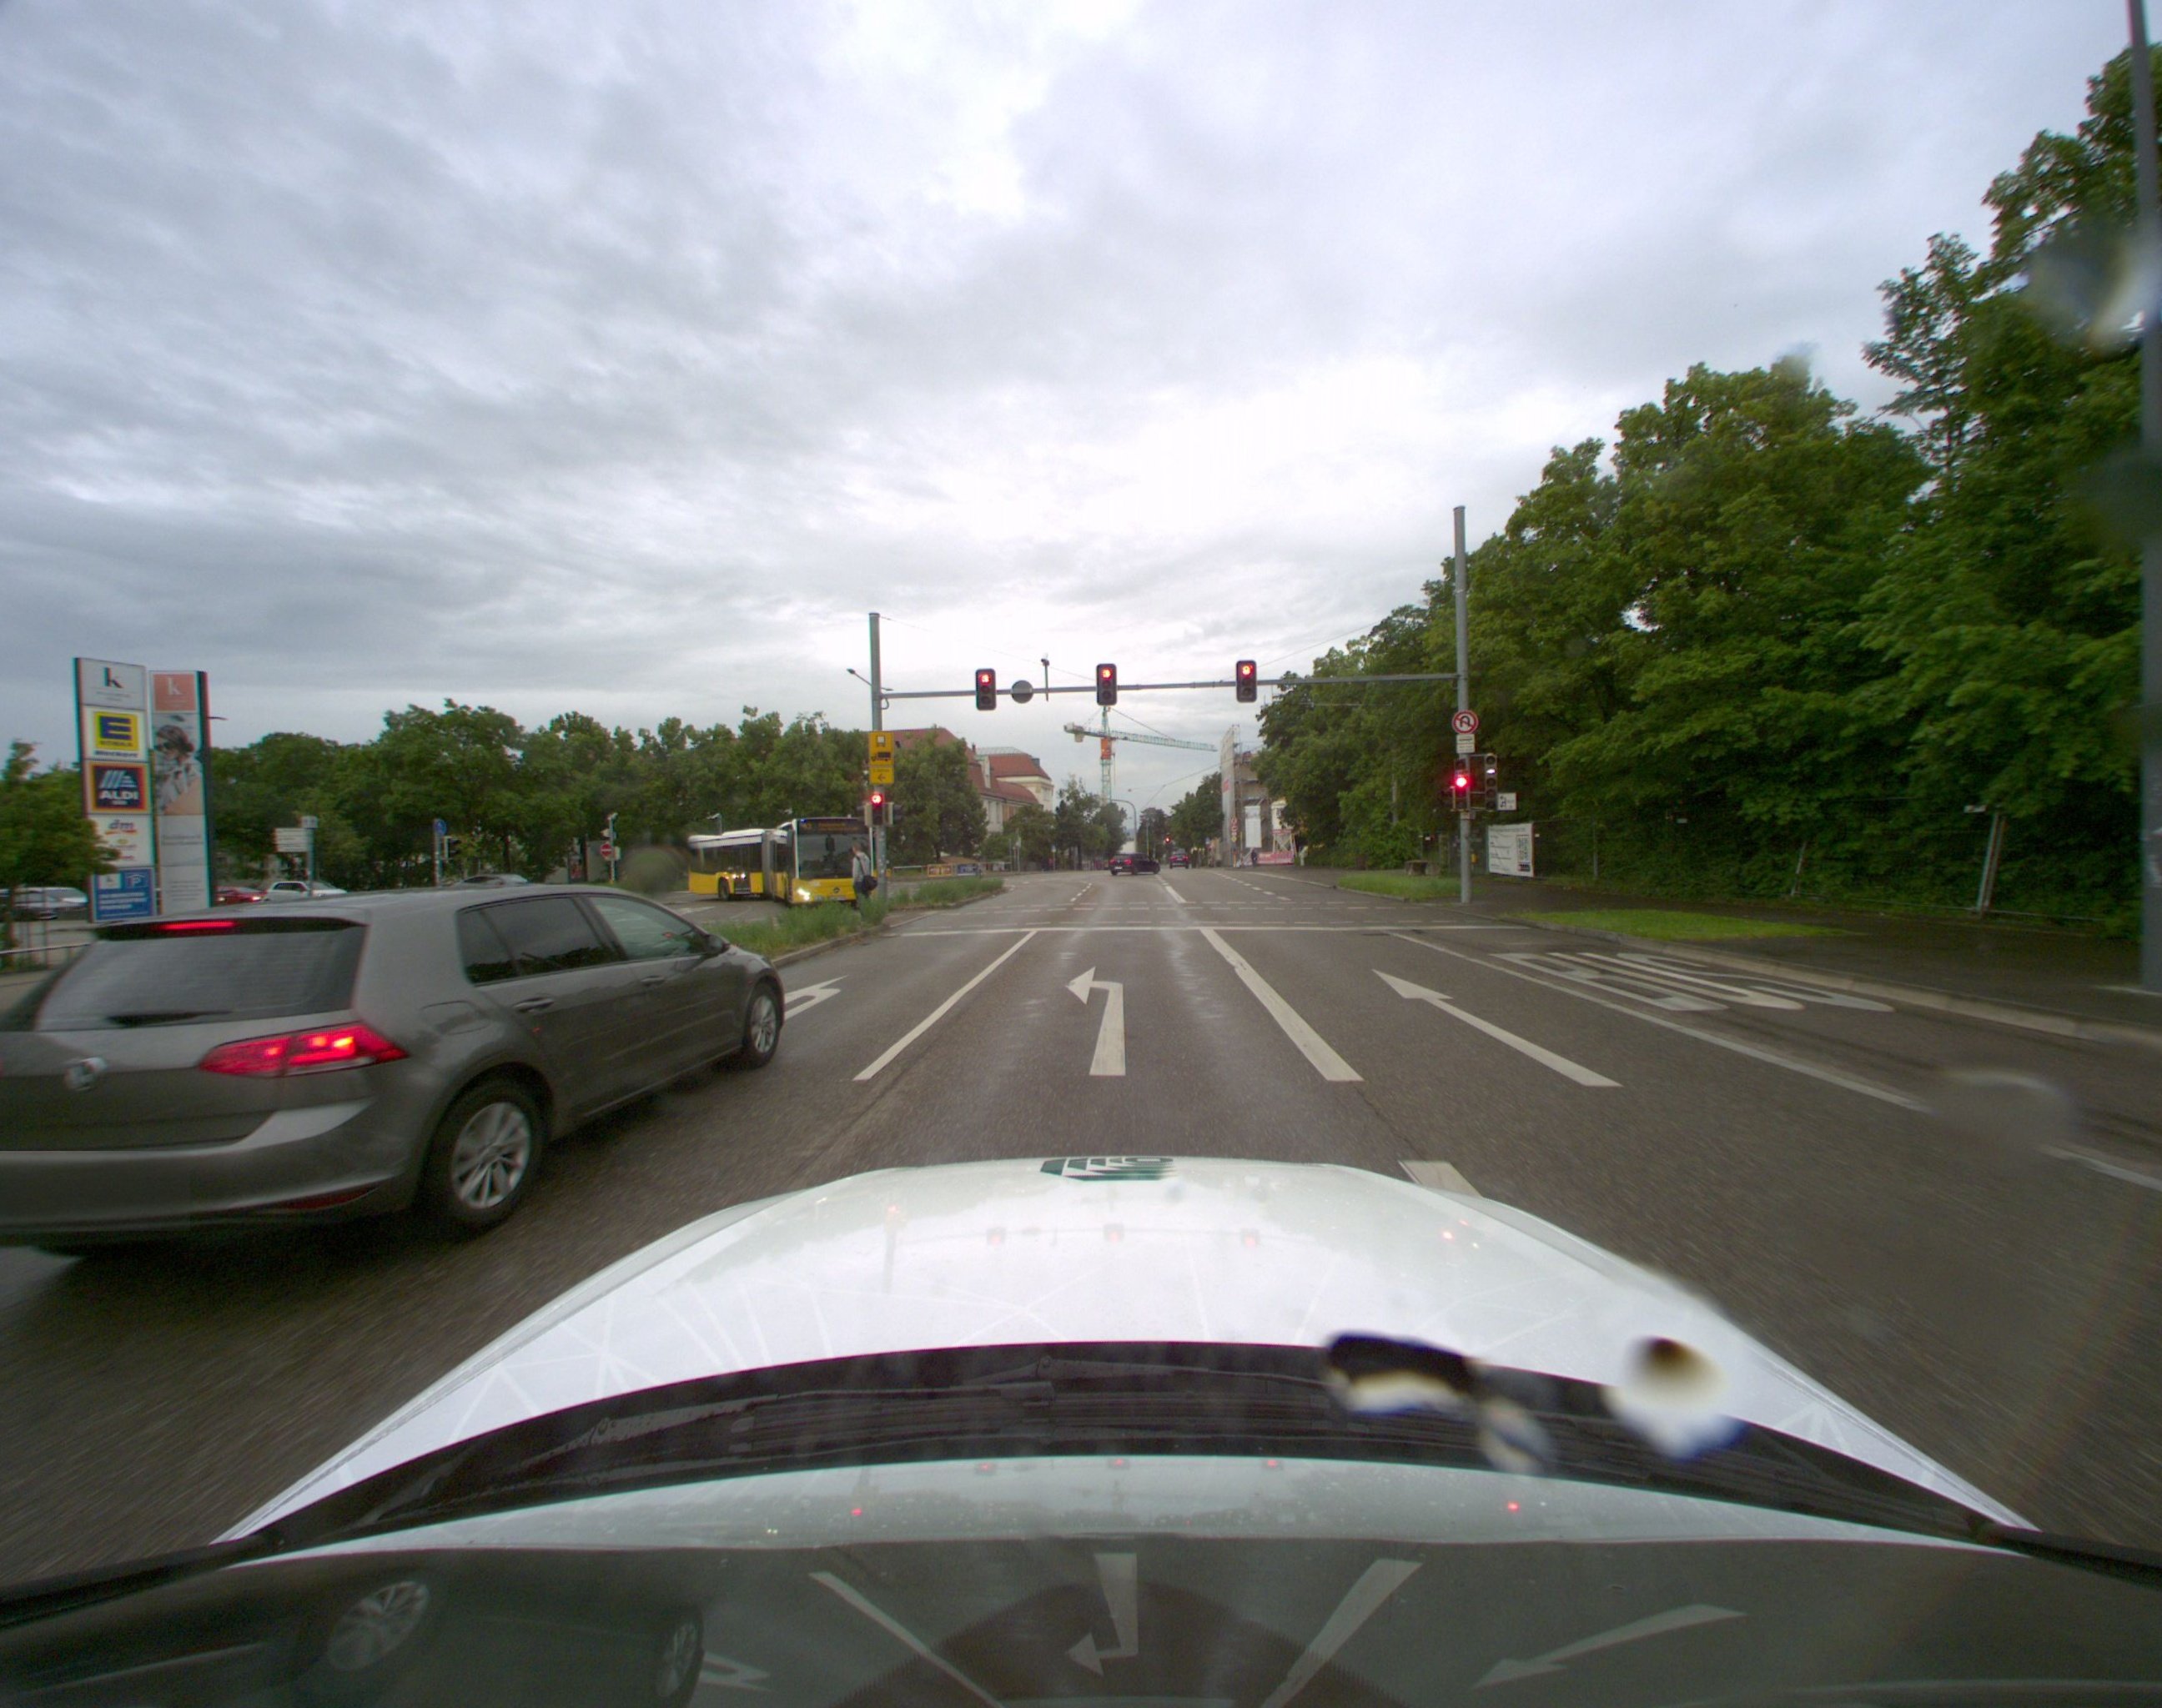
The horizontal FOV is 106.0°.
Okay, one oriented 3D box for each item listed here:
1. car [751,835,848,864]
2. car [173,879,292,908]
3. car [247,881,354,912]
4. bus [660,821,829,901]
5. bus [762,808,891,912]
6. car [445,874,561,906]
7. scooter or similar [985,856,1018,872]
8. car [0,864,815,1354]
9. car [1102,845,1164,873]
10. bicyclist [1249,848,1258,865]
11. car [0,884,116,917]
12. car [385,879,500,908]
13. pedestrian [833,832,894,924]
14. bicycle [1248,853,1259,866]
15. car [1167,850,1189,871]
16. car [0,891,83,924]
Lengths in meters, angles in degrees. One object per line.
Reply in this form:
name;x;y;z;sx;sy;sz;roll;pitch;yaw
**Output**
car;-15.033;-0.238;43.716;4.498;1.425;1.996;-1;0;-6
car;-47.390;2.193;45.531;4.511;1.425;2.000;-1;0;0
car;-40.282;2.176;42.106;3.758;1.425;1.846;-1;0;2
bus;-15.581;0.369;37.416;8.464;3.307;2.916;-2;0;34
bus;-9.563;0.213;29.635;2.904;3.103;9.671;-2;0;-26
car;-29.210;1.828;41.260;4.429;1.425;2.001;-1;0;2
scooter or similar;-7.704;1.002;79.209;3.076;1.440;0.949;-2;0;1
car;-3.254;0.862;4.691;1.798;1.429;4.200;-4;0;3
car;3.379;0.347;52.603;1.974;1.706;4.024;-1;-2;40
bicyclist;15.971;0.247;75.425;0.717;1.564;1.144;0;-2;5
car;-55.124;2.482;43.660;4.512;1.530;1.964;-1;0;2
car;-34.979;2.151;44.671;4.844;1.425;1.846;-1;0;2
pedestrian;-5.016;0.534;18.832;0.935;2.013;0.849;-5;0;9
bicycle;15.979;0.521;75.485;0.717;1.193;1.758;0;-1;5
car;9.756;0.709;81.952;1.936;2.021;4.554;0;-2;3
car;-51.545;2.608;39.631;3.951;1.425;1.669;-1;0;2
